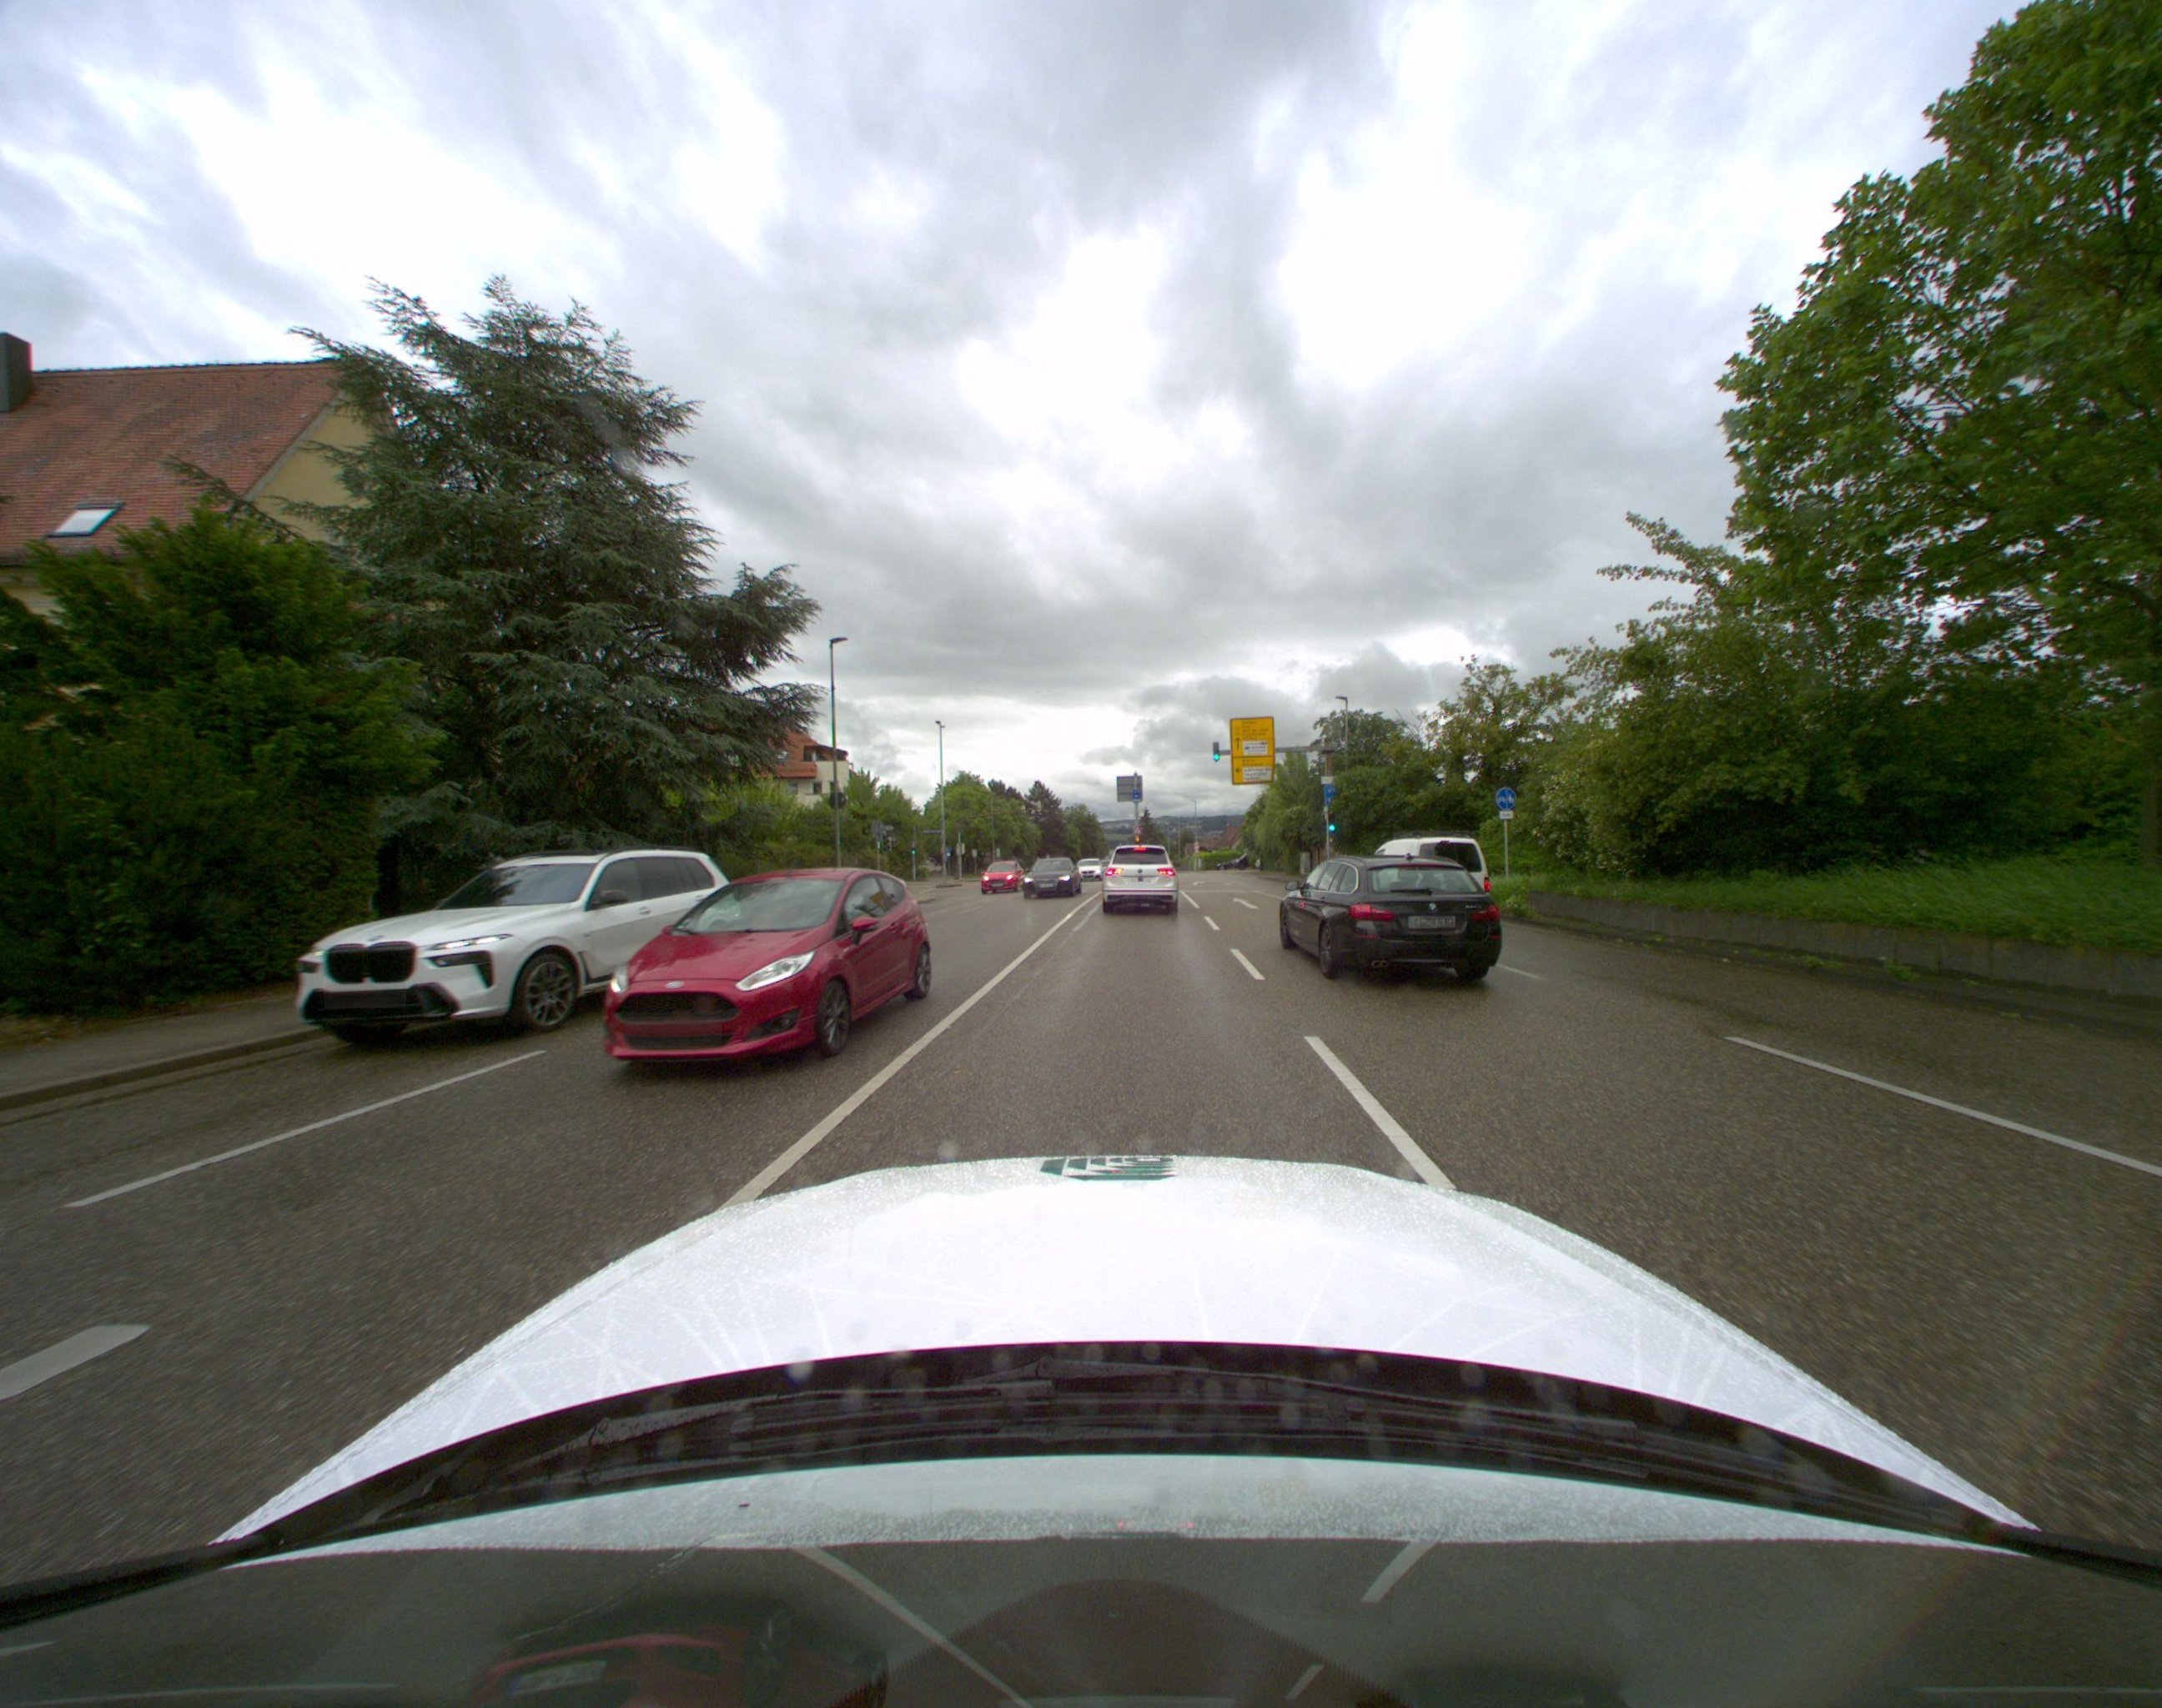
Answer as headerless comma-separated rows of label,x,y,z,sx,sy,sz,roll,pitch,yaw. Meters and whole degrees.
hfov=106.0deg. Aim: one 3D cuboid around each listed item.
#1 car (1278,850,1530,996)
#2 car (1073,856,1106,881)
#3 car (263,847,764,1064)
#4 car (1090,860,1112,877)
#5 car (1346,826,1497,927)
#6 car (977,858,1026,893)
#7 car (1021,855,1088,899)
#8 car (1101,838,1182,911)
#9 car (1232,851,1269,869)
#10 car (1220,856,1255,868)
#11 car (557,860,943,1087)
car,3.879,0.717,10.579,1.890,1.441,4.005,2,1,4
car,0.590,0.907,52.661,1.740,1.385,4.417,-3,0,5
car,-5.924,0.872,9.607,1.908,1.762,5.149,-4,0,4
car,1.925,1.386,77.964,1.766,1.458,4.555,-2,0,4
car,7.108,0.367,17.427,1.758,1.877,3.808,-1,2,2
car,-3.679,0.966,38.326,1.625,1.456,3.706,-4,0,4
car,-0.898,0.791,30.193,1.884,1.404,4.271,-3,0,5
car,1.548,0.488,20.846,1.860,1.674,4.004,-1,-1,4
car,18.772,0.620,90.294,3.965,1.956,1.588,0,0,7
car,18.375,0.938,95.564,3.965,1.376,1.588,0,0,7
car,-2.615,0.843,7.518,1.673,1.419,3.846,-4,0,4
